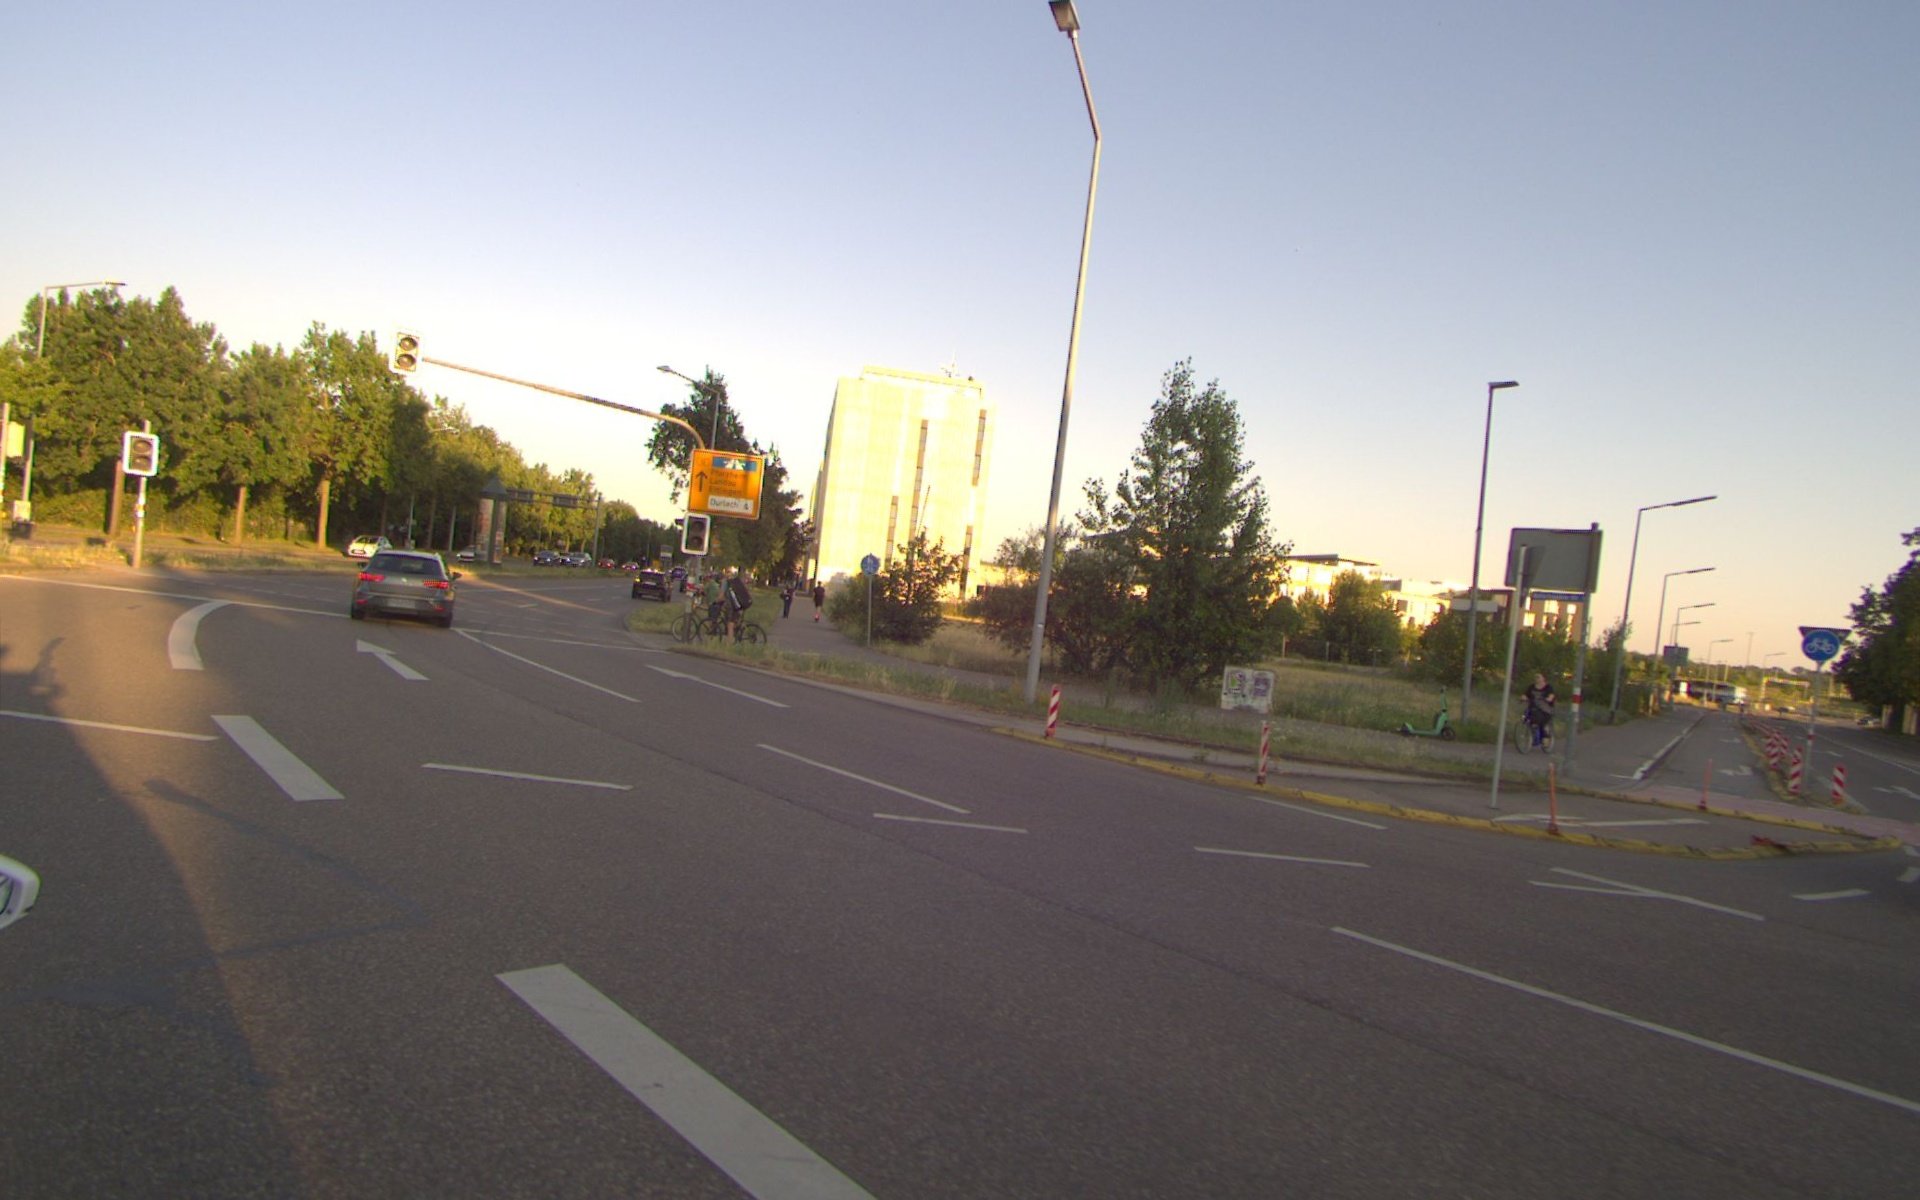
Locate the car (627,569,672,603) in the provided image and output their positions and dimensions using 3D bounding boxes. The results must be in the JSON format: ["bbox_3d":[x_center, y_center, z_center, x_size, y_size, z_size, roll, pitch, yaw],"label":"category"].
[{"bbox_3d":[-16.509,-0.782,53.633,1.789,1.544,4.123,7,0,-13],"label":"car"}]

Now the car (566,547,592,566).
[{"bbox_3d":[-42.264,-4.763,111.660,1.891,1.776,4.910,6,0,-12],"label":"car"}]

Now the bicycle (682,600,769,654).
[{"bbox_3d":[-5.549,0.636,23.833,1.896,1.099,0.455,5,1,-13],"label":"bicycle"}]

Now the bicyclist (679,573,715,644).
[{"bbox_3d":[-6.663,0.217,25.518,0.757,1.724,0.639,4,2,-13],"label":"bicyclist"}]

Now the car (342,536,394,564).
[{"bbox_3d":[-37.762,-3.191,64.265,1.527,1.461,3.482,6,0,-8],"label":"car"}]

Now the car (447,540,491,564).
[{"bbox_3d":[-36.486,-3.544,74.847,1.699,1.467,4.539,6,0,-11],"label":"car"}]

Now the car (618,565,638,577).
[{"bbox_3d":[-47.592,-4.131,144.333,1.814,1.478,4.575,7,-1,-8],"label":"car"}]

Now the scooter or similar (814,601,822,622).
[{"bbox_3d":[-6.479,0.511,45.984,0.243,0.925,1.037,7,1,-7],"label":"scooter or similar"}]

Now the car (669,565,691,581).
[{"bbox_3d":[-31.750,-3.055,114.056,1.968,1.489,3.990,7,0,-12],"label":"car"}]

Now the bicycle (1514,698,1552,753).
[{"bbox_3d":[12.277,2.688,21.542,0.276,1.102,1.365,8,1,43],"label":"bicycle"}]

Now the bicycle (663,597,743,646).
[{"bbox_3d":[-6.512,0.544,25.562,1.896,1.099,0.455,4,2,-13],"label":"bicycle"}]

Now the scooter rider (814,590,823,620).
[{"bbox_3d":[-6.459,0.231,45.946,0.260,1.356,0.406,7,1,-7],"label":"scooter rider"}]

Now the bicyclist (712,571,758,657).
[{"bbox_3d":[-5.323,0.322,23.779,0.895,1.922,0.639,5,2,-13],"label":"bicyclist"}]

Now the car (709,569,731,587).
[{"bbox_3d":[-24.627,-2.273,103.286,1.881,1.638,3.990,7,0,-12],"label":"car"}]

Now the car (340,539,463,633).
[{"bbox_3d":[-11.270,-0.342,20.170,1.735,1.442,4.096,7,1,-34],"label":"car"}]

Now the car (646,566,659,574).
[{"bbox_3d":[-56.424,-5.527,184.687,1.591,1.325,3.710,6,0,-10],"label":"car"}]

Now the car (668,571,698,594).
[{"bbox_3d":[-20.639,-1.310,75.085,1.722,1.507,4.126,7,0,-11],"label":"car"}]

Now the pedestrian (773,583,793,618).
[{"bbox_3d":[-8.377,0.038,47.702,0.783,1.569,0.566,6,1,-10],"label":"pedestrian"}]

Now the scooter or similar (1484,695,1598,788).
[{"bbox_3d":[9.168,2.220,15.924,1.358,1.177,0.442,9,2,25],"label":"scooter or similar"}]

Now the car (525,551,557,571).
[{"bbox_3d":[-40.294,-3.711,96.749,1.773,1.653,4.448,6,0,-10],"label":"car"}]
